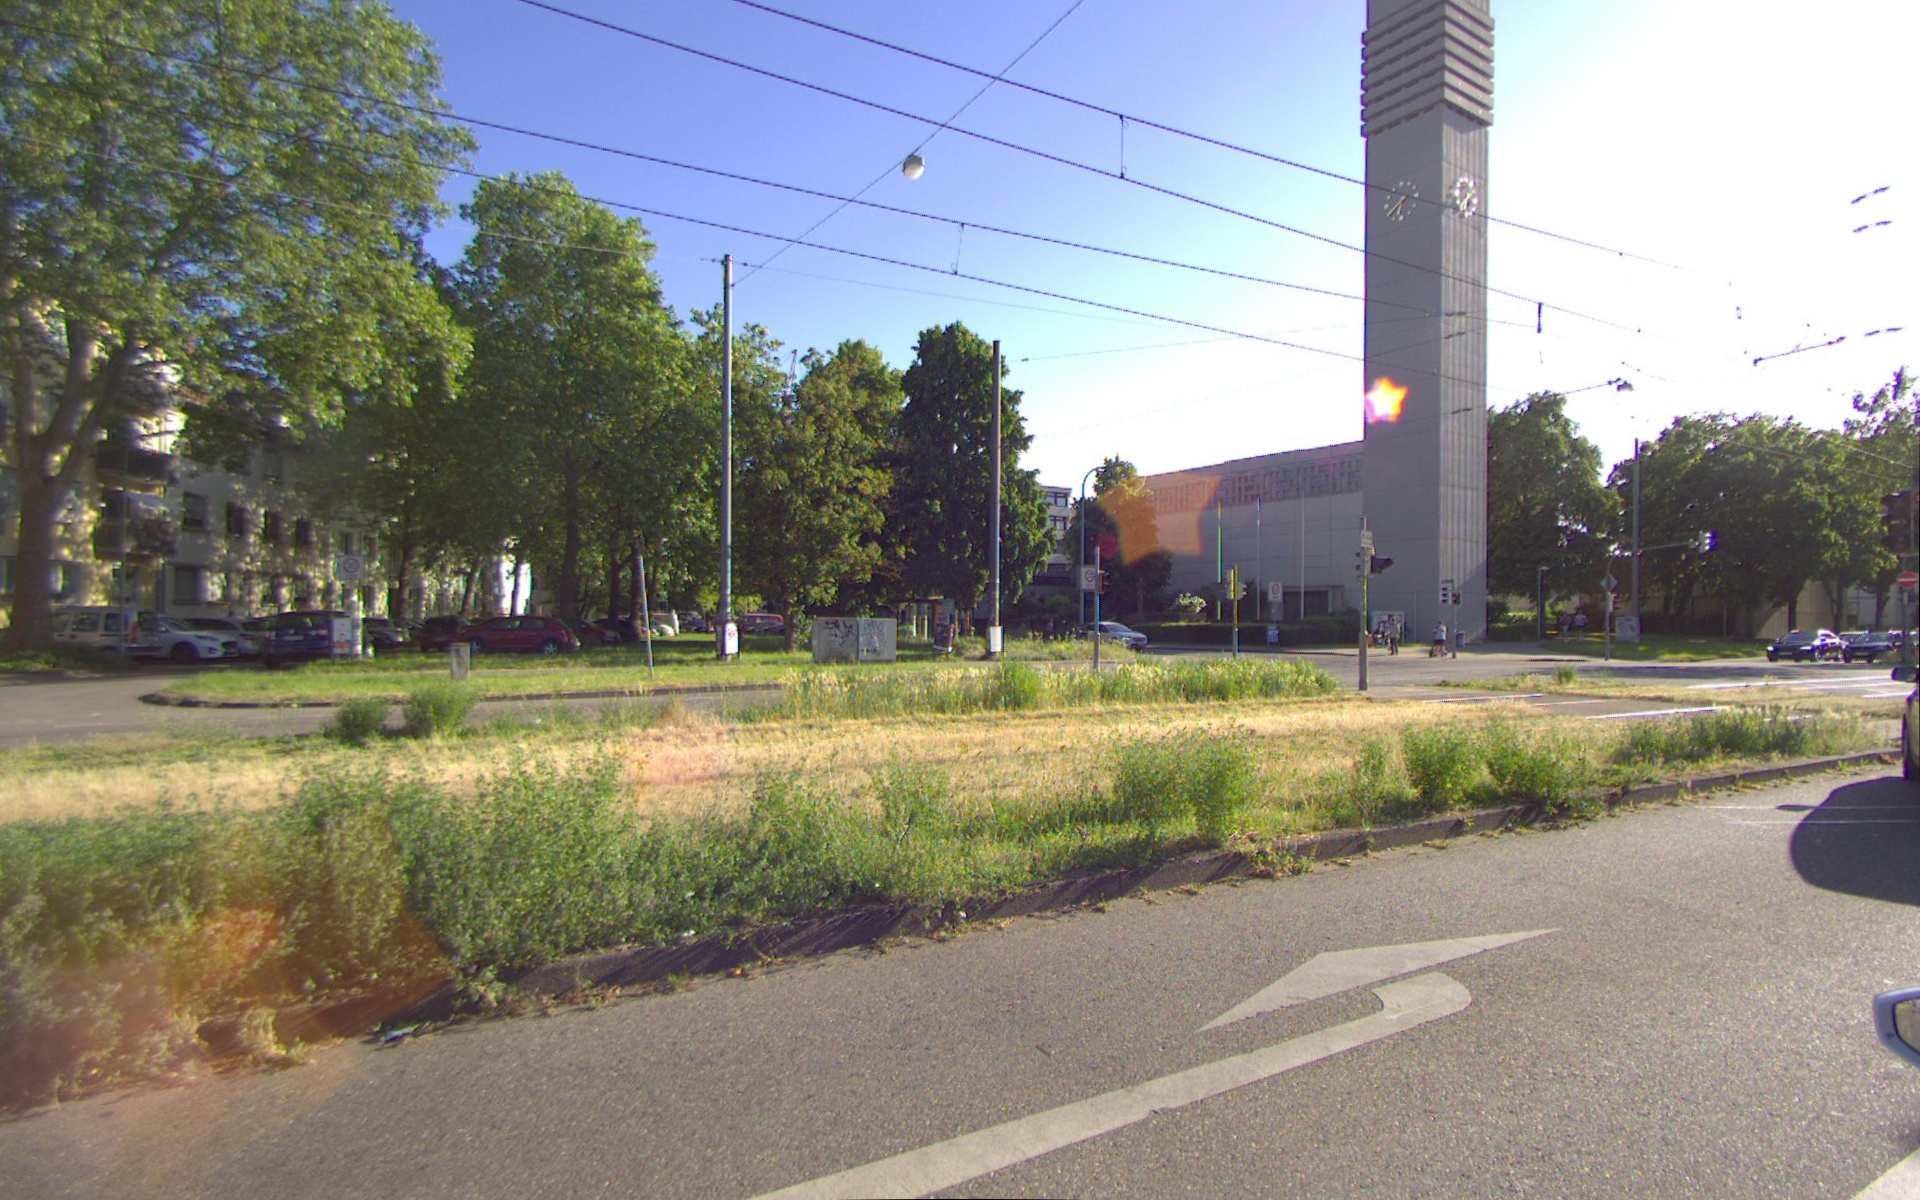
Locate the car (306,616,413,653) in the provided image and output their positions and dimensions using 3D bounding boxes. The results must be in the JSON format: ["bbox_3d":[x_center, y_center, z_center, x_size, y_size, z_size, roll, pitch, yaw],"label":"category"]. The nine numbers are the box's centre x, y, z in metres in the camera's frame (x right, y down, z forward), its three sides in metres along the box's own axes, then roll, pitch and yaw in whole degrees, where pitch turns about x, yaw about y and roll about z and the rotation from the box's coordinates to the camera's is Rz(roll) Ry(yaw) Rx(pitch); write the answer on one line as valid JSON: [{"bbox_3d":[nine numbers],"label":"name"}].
[{"bbox_3d":[-29.304,1.705,49.154,3.989,1.686,1.997,2,-2,-11],"label":"car"}]

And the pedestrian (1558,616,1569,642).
[{"bbox_3d":[36.575,1.745,60.860,0.302,1.581,0.432,1,2,-34],"label":"pedestrian"}]

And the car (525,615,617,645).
[{"bbox_3d":[-18.582,1.404,48.089,3.932,1.400,1.581,0,-1,-14],"label":"car"}]

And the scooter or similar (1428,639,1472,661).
[{"bbox_3d":[22.204,2.258,45.493,1.717,0.911,0.560,-1,-1,45],"label":"scooter or similar"}]

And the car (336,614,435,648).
[{"bbox_3d":[-29.923,1.627,52.466,3.989,1.686,1.997,2,-2,-11],"label":"car"}]

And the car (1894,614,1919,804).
[{"bbox_3d":[8.777,0.915,8.007,1.674,1.528,3.682,2,1,39],"label":"car"}]

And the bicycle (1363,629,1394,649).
[{"bbox_3d":[22.085,2.061,52.997,1.659,1.060,0.489,1,1,-23],"label":"bicycle"}]

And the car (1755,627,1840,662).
[{"bbox_3d":[39.970,2.095,47.908,4.310,1.553,1.798,1,-1,-31],"label":"car"}]

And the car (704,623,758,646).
[{"bbox_3d":[-18.512,2.765,81.079,3.953,1.795,1.659,1,-1,-30],"label":"car"}]

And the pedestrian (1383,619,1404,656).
[{"bbox_3d":[20.344,1.770,47.168,0.735,1.689,0.442,1,1,-21],"label":"pedestrian"}]

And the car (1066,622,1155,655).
[{"bbox_3d":[7.899,1.983,53.208,1.980,1.420,4.671,1,1,-35],"label":"car"}]

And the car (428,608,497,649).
[{"bbox_3d":[-21.618,1.232,43.766,1.719,1.706,3.992,0,-1,-11],"label":"car"}]

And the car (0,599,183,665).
[{"bbox_3d":[-26.531,0.990,30.634,3.929,1.867,1.997,2,-3,-11],"label":"car"}]

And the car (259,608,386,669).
[{"bbox_3d":[-18.046,1.052,28.652,1.719,1.622,3.992,0,-1,-11],"label":"car"}]

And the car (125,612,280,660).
[{"bbox_3d":[-27.139,1.329,36.114,3.929,1.590,1.879,2,-3,-11],"label":"car"}]

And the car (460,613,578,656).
[{"bbox_3d":[-15.682,1.224,35.857,3.585,1.399,1.641,2,1,-13],"label":"car"}]

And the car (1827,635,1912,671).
[{"bbox_3d":[41.405,2.383,45.720,4.310,1.553,1.679,1,-1,-31],"label":"car"}]

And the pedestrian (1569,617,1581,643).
[{"bbox_3d":[36.913,1.784,60.282,0.483,1.527,0.432,1,2,-34],"label":"pedestrian"}]

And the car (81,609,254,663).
[{"bbox_3d":[-26.431,1.212,33.661,3.989,1.686,1.997,2,-2,-11],"label":"car"}]

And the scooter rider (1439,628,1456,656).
[{"bbox_3d":[22.120,1.910,45.577,0.520,1.234,0.584,3,2,43],"label":"scooter rider"}]
